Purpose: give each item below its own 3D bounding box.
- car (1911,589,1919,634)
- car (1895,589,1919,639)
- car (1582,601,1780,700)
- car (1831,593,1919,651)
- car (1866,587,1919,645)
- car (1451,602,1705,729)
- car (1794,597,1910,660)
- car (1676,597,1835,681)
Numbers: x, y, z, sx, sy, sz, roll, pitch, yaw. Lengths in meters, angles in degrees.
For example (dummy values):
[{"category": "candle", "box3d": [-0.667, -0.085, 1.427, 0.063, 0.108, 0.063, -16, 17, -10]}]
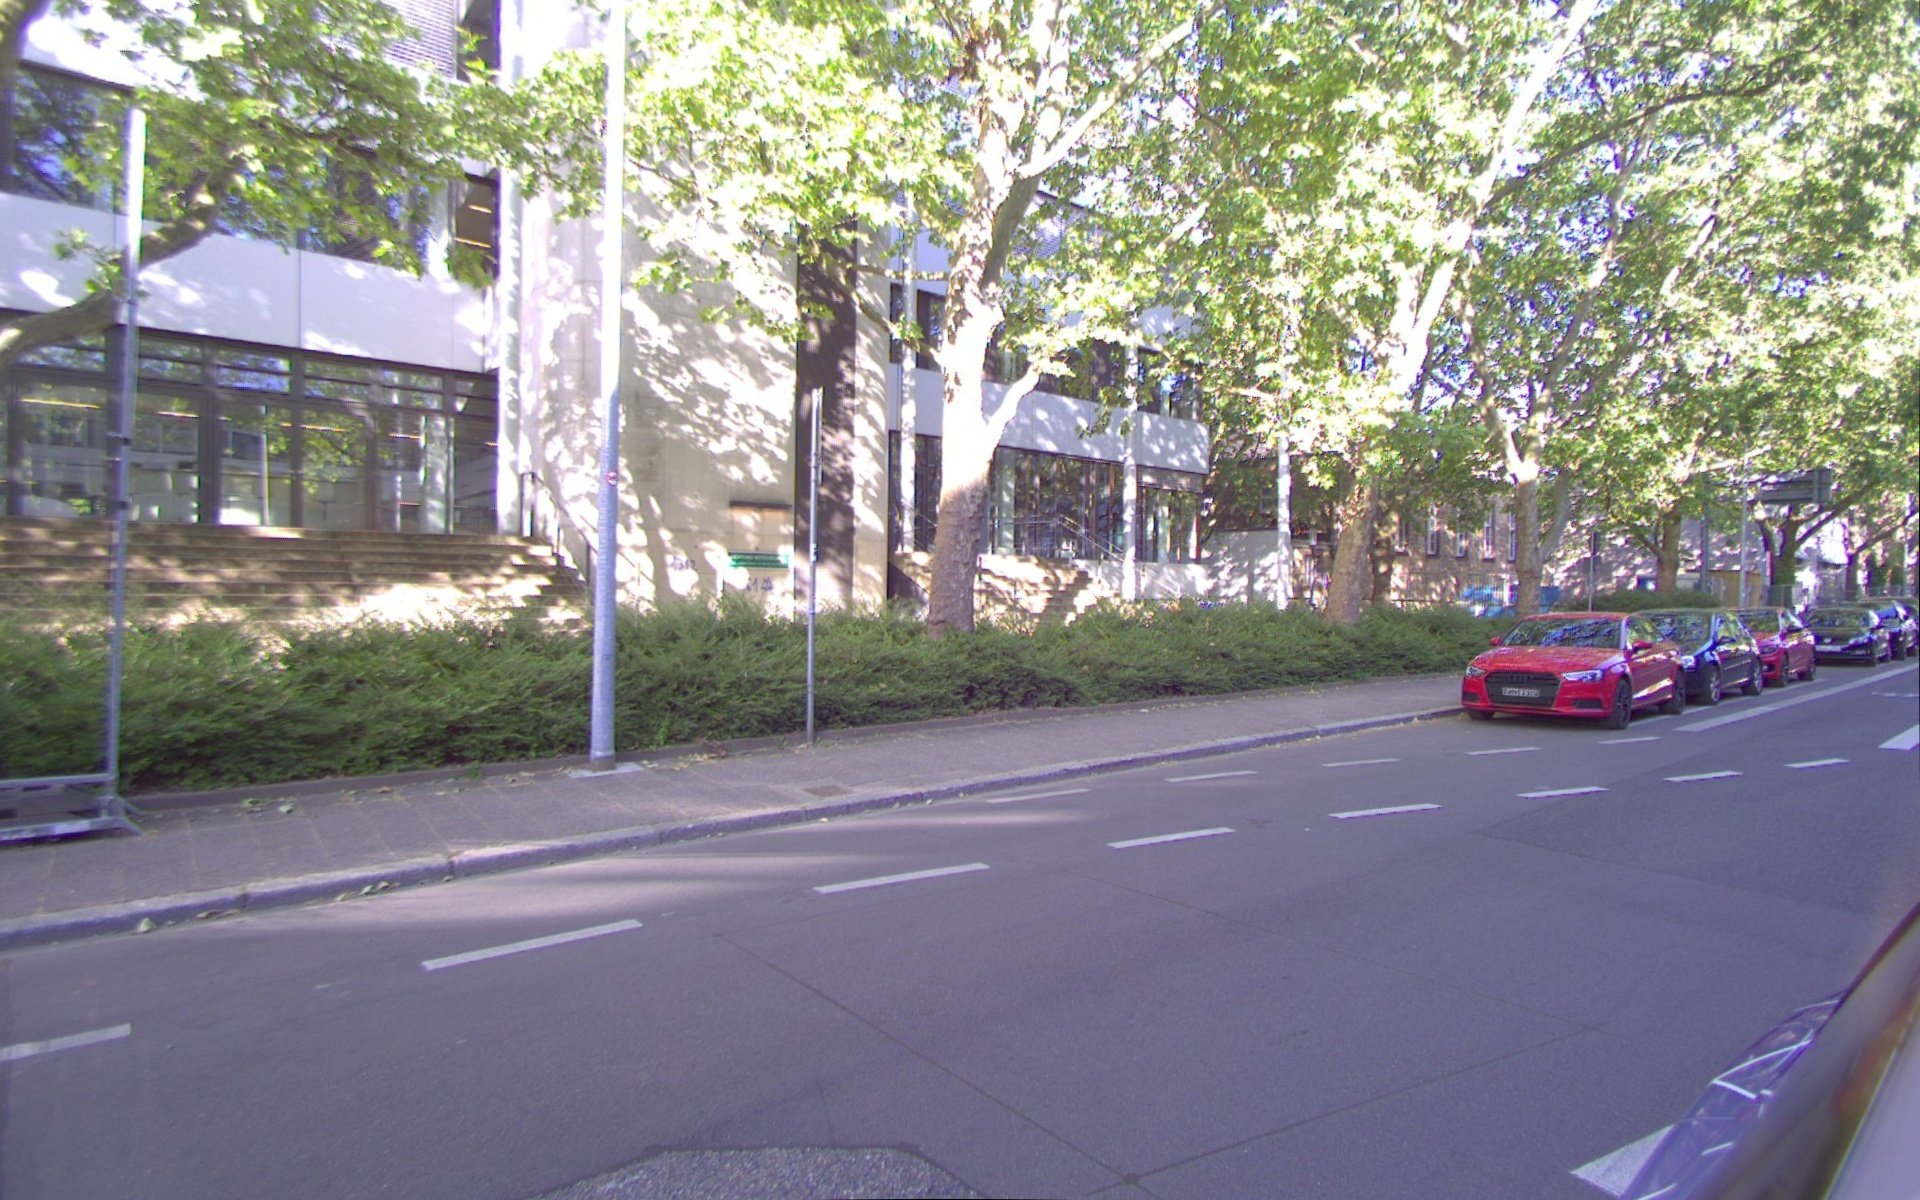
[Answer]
[{"category": "car", "box3d": [39.629, 0.438, 40.401, 4.475, 1.777, 2.040, 0, -1, -42]}, {"category": "car", "box3d": [35.911, 0.483, 37.251, 4.475, 1.777, 1.788, 0, -1, -42]}, {"category": "car", "box3d": [11.955, 0.739, 16.687, 4.092, 1.431, 1.815, 0, -1, -42]}, {"category": "car", "box3d": [26.598, 0.589, 29.133, 4.092, 1.573, 1.788, 0, -1, -42]}, {"category": "car", "box3d": [31.058, 0.489, 33.015, 4.271, 1.777, 1.788, 0, -1, -42]}, {"category": "car", "box3d": [8.362, 0.753, 13.548, 4.092, 1.431, 1.815, 0, -1, -42]}, {"category": "car", "box3d": [23.053, 0.680, 26.101, 4.092, 1.478, 1.788, 0, -1, -42]}, {"category": "car", "box3d": [15.861, 0.701, 20.108, 4.092, 1.502, 1.815, 0, -1, -42]}]
